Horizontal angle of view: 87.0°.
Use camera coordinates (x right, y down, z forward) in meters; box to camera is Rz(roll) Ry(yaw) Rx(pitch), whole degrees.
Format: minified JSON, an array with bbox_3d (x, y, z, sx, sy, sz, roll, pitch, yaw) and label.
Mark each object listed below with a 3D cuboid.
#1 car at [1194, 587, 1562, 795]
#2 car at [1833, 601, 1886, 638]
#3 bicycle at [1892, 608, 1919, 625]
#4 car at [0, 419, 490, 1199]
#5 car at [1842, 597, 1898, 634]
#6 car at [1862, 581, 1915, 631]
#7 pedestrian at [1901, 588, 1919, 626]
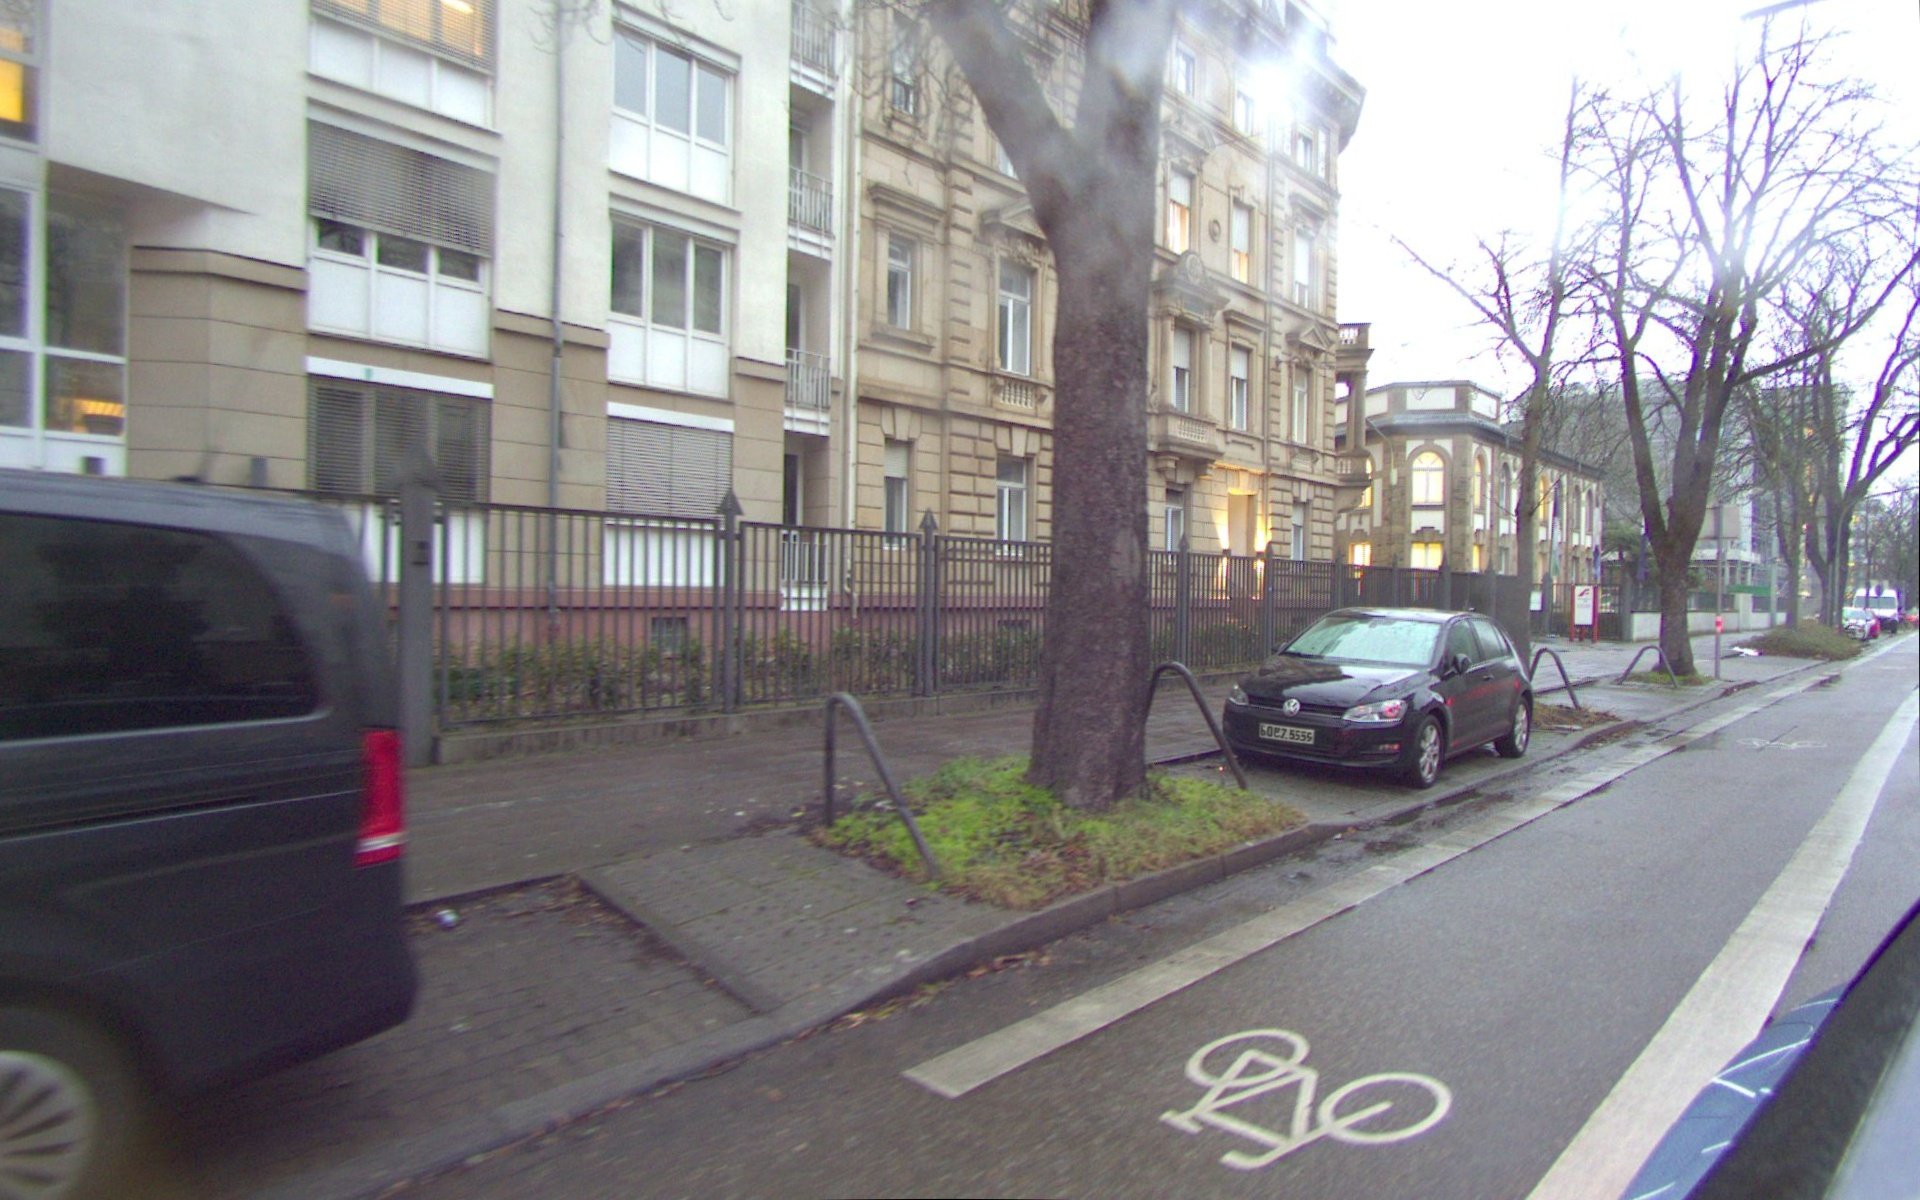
[{"bbox_3d":[4.106,0.684,9.586,1.759,1.463,4.090,4,2,45],"label":"car"},{"bbox_3d":[37.876,0.775,42.578,1.623,1.425,3.938,0,1,43],"label":"car"},{"bbox_3d":[59.066,1.022,62.703,1.913,1.004,0.845,0,1,45],"label":"bicycle"},{"bbox_3d":[-3.774,0.531,1.864,4.881,1.899,2.032,0,1,-44],"label":"car"},{"bbox_3d":[44.794,0.714,49.785,1.993,1.703,3.938,0,1,43],"label":"car"},{"bbox_3d":[51.679,0.285,56.362,2.087,2.670,5.365,0,1,43],"label":"car"},{"bbox_3d":[59.065,0.430,62.703,1.115,2.287,0.938,0,0,44],"label":"pedestrian"}]
